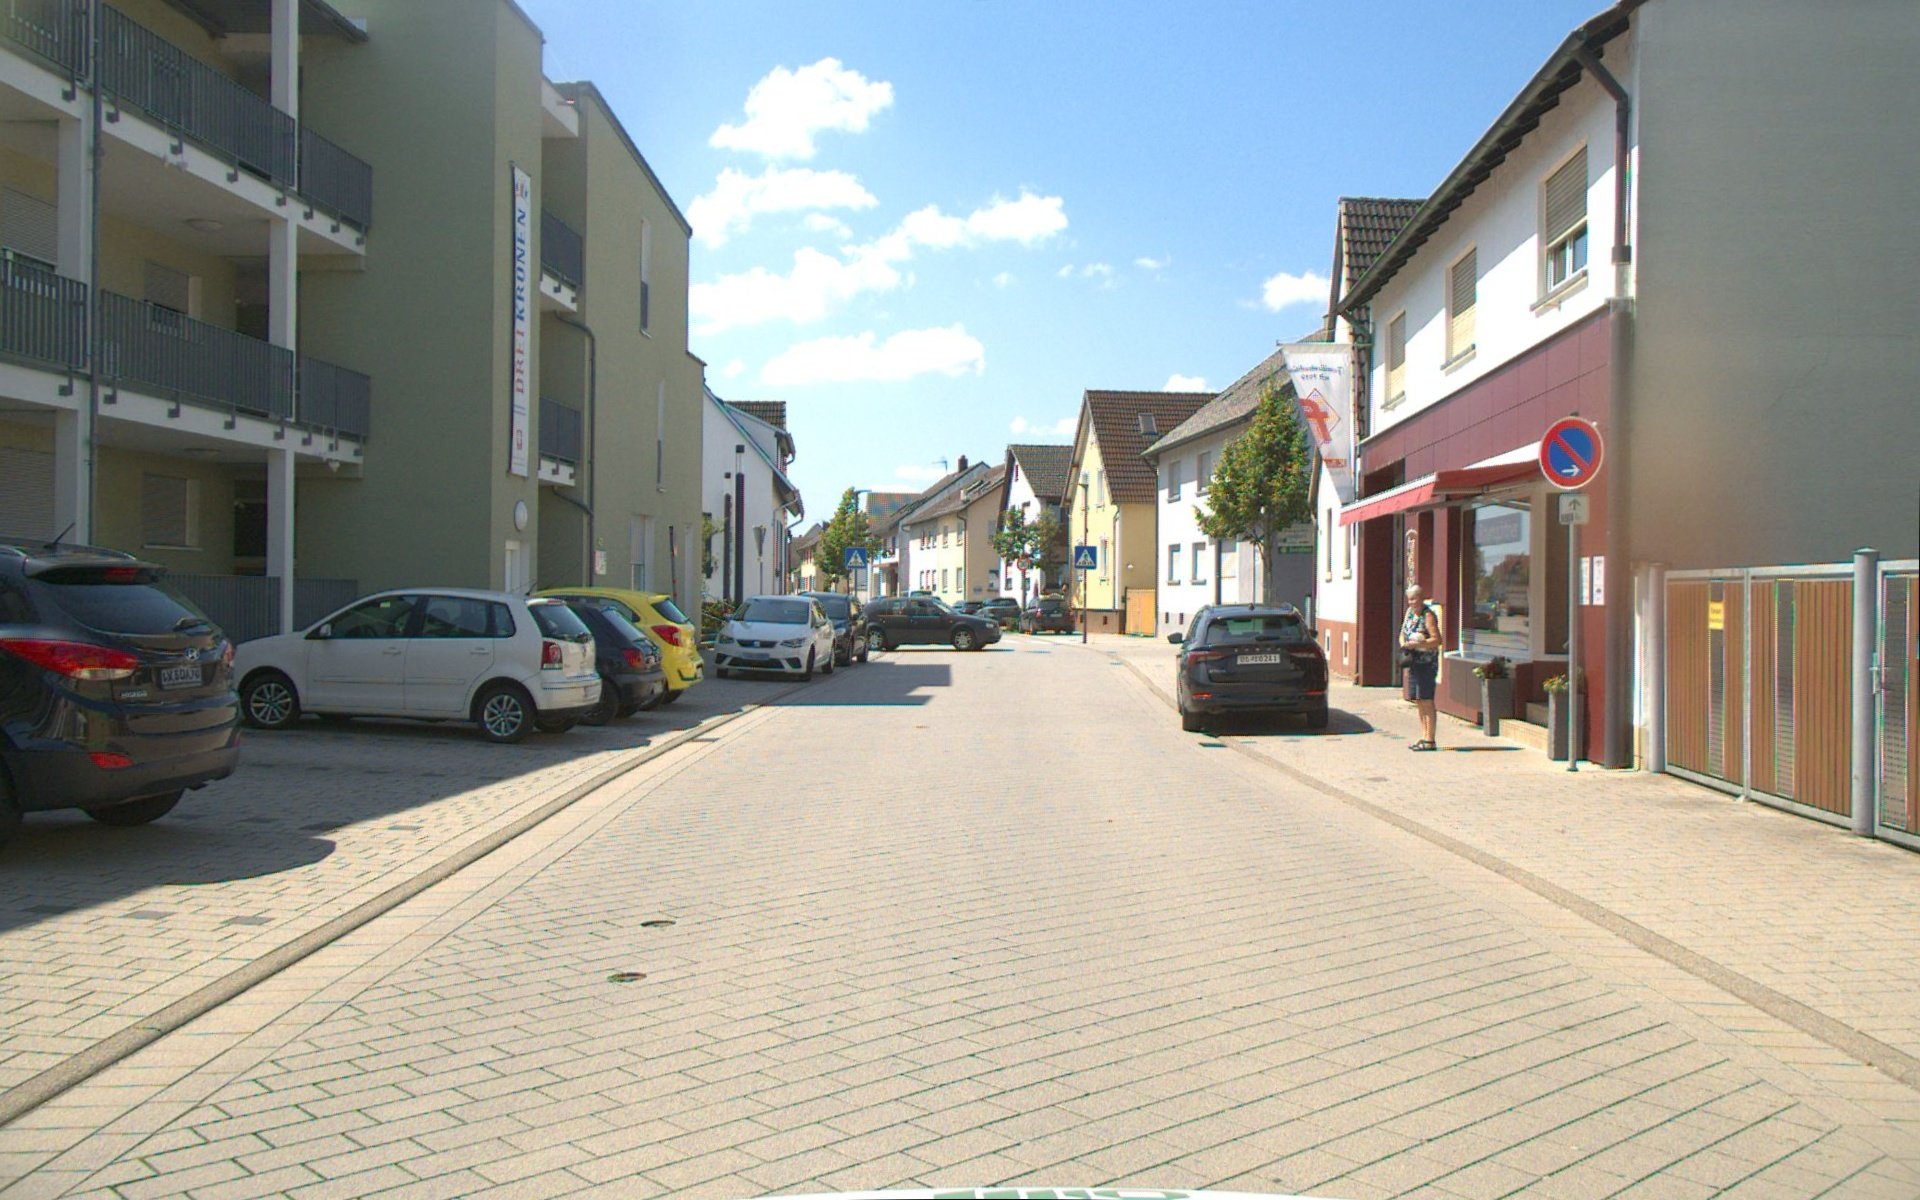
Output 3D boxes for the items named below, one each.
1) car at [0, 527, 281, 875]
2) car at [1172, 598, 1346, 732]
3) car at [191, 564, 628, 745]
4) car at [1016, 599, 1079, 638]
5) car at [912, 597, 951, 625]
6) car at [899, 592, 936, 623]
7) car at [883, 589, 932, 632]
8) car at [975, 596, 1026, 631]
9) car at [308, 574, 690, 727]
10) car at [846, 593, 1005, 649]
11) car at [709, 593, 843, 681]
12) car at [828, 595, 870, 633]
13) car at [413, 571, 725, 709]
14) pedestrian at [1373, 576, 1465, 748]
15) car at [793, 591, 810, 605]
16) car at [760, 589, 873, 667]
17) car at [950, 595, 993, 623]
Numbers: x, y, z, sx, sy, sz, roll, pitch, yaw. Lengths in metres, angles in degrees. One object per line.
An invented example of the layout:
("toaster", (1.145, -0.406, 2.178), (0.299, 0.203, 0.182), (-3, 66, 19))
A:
("car", (-6.239, 0.404, 9.157), (4.131, 1.687, 1.785), (3, 0, 3))
("car", (3.666, 0.739, 20.951), (1.818, 1.484, 4.589), (-1, 0, 6))
("car", (-5.593, 0.523, 17.074), (3.819, 1.528, 1.752), (3, 0, 5))
("car", (3.555, 0.757, 67.882), (1.795, 1.497, 4.268), (-1, 0, -8))
("car", (-1.704, 0.619, 98.654), (1.842, 1.619, 3.992), (0, 0, -8))
("car", (-2.685, 0.467, 104.222), (1.871, 1.904, 3.992), (0, 0, -8))
("car", (-2.654, 0.493, 82.914), (1.956, 2.094, 4.365), (0, 0, -9))
("car", (1.859, 0.611, 77.417), (1.812, 1.590, 3.686), (0, 0, -8))
("car", (-5.341, 0.568, 19.469), (3.904, 1.466, 1.692), (4, 0, 3))
("car", (-0.909, 0.558, 44.715), (4.018, 1.464, 1.767), (0, 0, 10))
("car", (-3.308, 0.635, 30.413), (1.721, 1.435, 3.879), (3, 0, 4))
("car", (-4.926, 0.586, 72.964), (1.713, 1.557, 3.995), (2, 0, -5))
("car", (-5.131, 0.508, 21.976), (3.615, 1.552, 1.673), (3, 0, 4))
("pedestrian", (4.602, 0.611, 16.620), (0.714, 1.668, 0.749), (-2, -1, 5))
("car", (-17.146, -0.213, 178.363), (1.656, 1.478, 3.785), (0, 0, -8))
("car", (-3.039, 0.564, 35.877), (1.775, 1.516, 4.279), (2, 0, 4))
("car", (0.567, 0.435, 84.852), (1.679, 1.411, 3.699), (0, 0, -8))
